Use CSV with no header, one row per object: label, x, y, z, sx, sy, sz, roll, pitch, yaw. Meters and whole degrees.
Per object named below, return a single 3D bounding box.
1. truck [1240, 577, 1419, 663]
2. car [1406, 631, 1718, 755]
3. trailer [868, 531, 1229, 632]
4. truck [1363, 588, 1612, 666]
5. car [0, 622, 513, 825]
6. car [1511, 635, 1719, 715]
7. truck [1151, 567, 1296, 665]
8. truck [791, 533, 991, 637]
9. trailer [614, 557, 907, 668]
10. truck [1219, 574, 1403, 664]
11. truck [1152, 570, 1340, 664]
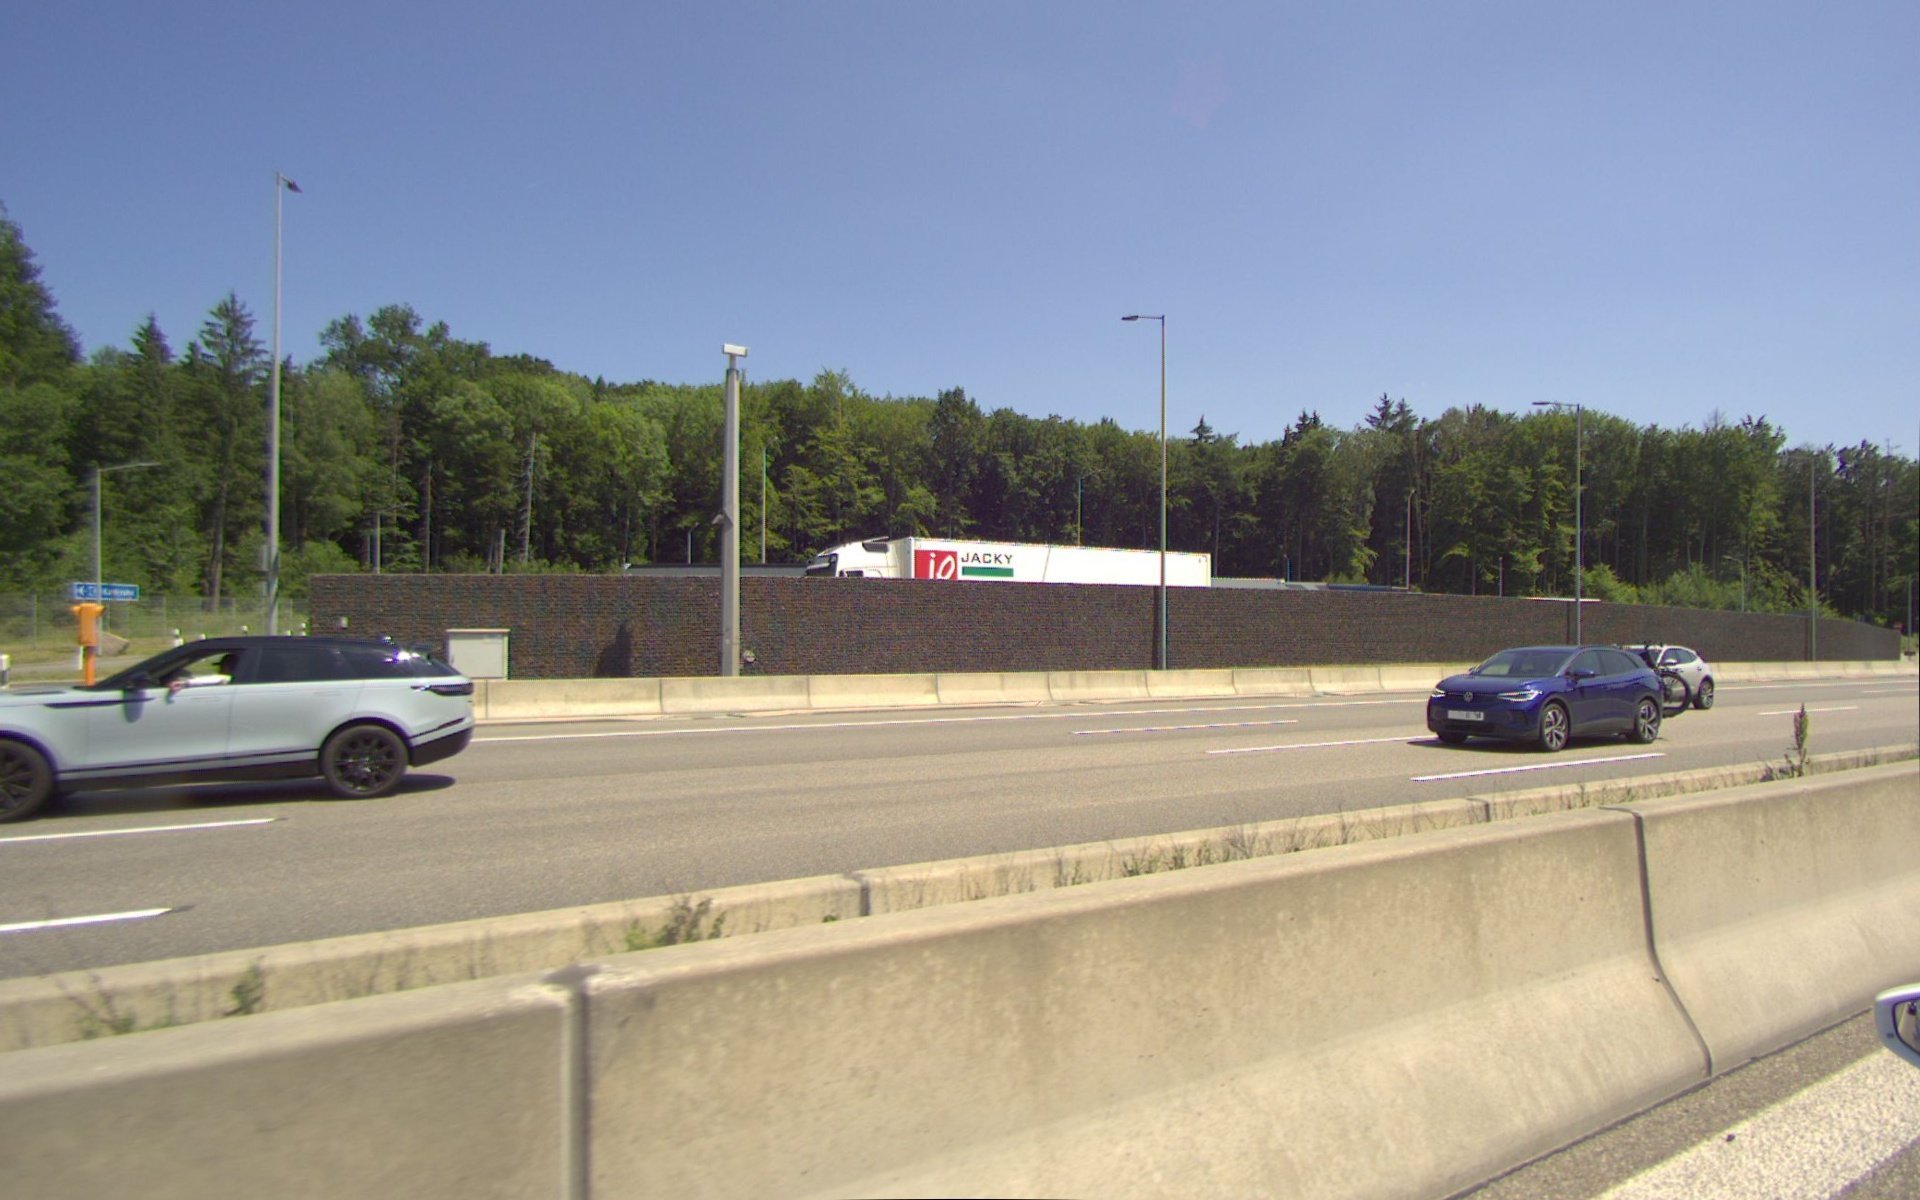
truck,25.301,1.335,69.440,11.305,5.687,3.370,0,-1,15
car,10.291,1.450,17.020,5.854,1.797,1.984,2,-2,-30
trailer,3.730,-0.454,37.505,14.439,3.165,2.958,2,-2,-31
truck,39.704,1.982,76.483,16.374,5.687,3.453,0,-1,15
car,-7.543,1.157,10.606,4.980,1.797,1.984,2,-2,-30
car,16.471,1.805,25.169,5.854,1.797,1.984,2,-2,-30
truck,15.973,0.950,61.180,8.317,5.687,3.230,0,-1,15
truck,-2.298,-0.384,33.972,6.130,3.165,2.913,2,-2,-30
trailer,-9.960,0.587,49.919,14.273,5.139,3.132,0,-1,15
truck,22.990,1.205,66.566,11.305,5.687,3.230,0,-1,15
truck,18.099,1.074,64.164,11.305,5.687,3.230,0,-1,15
